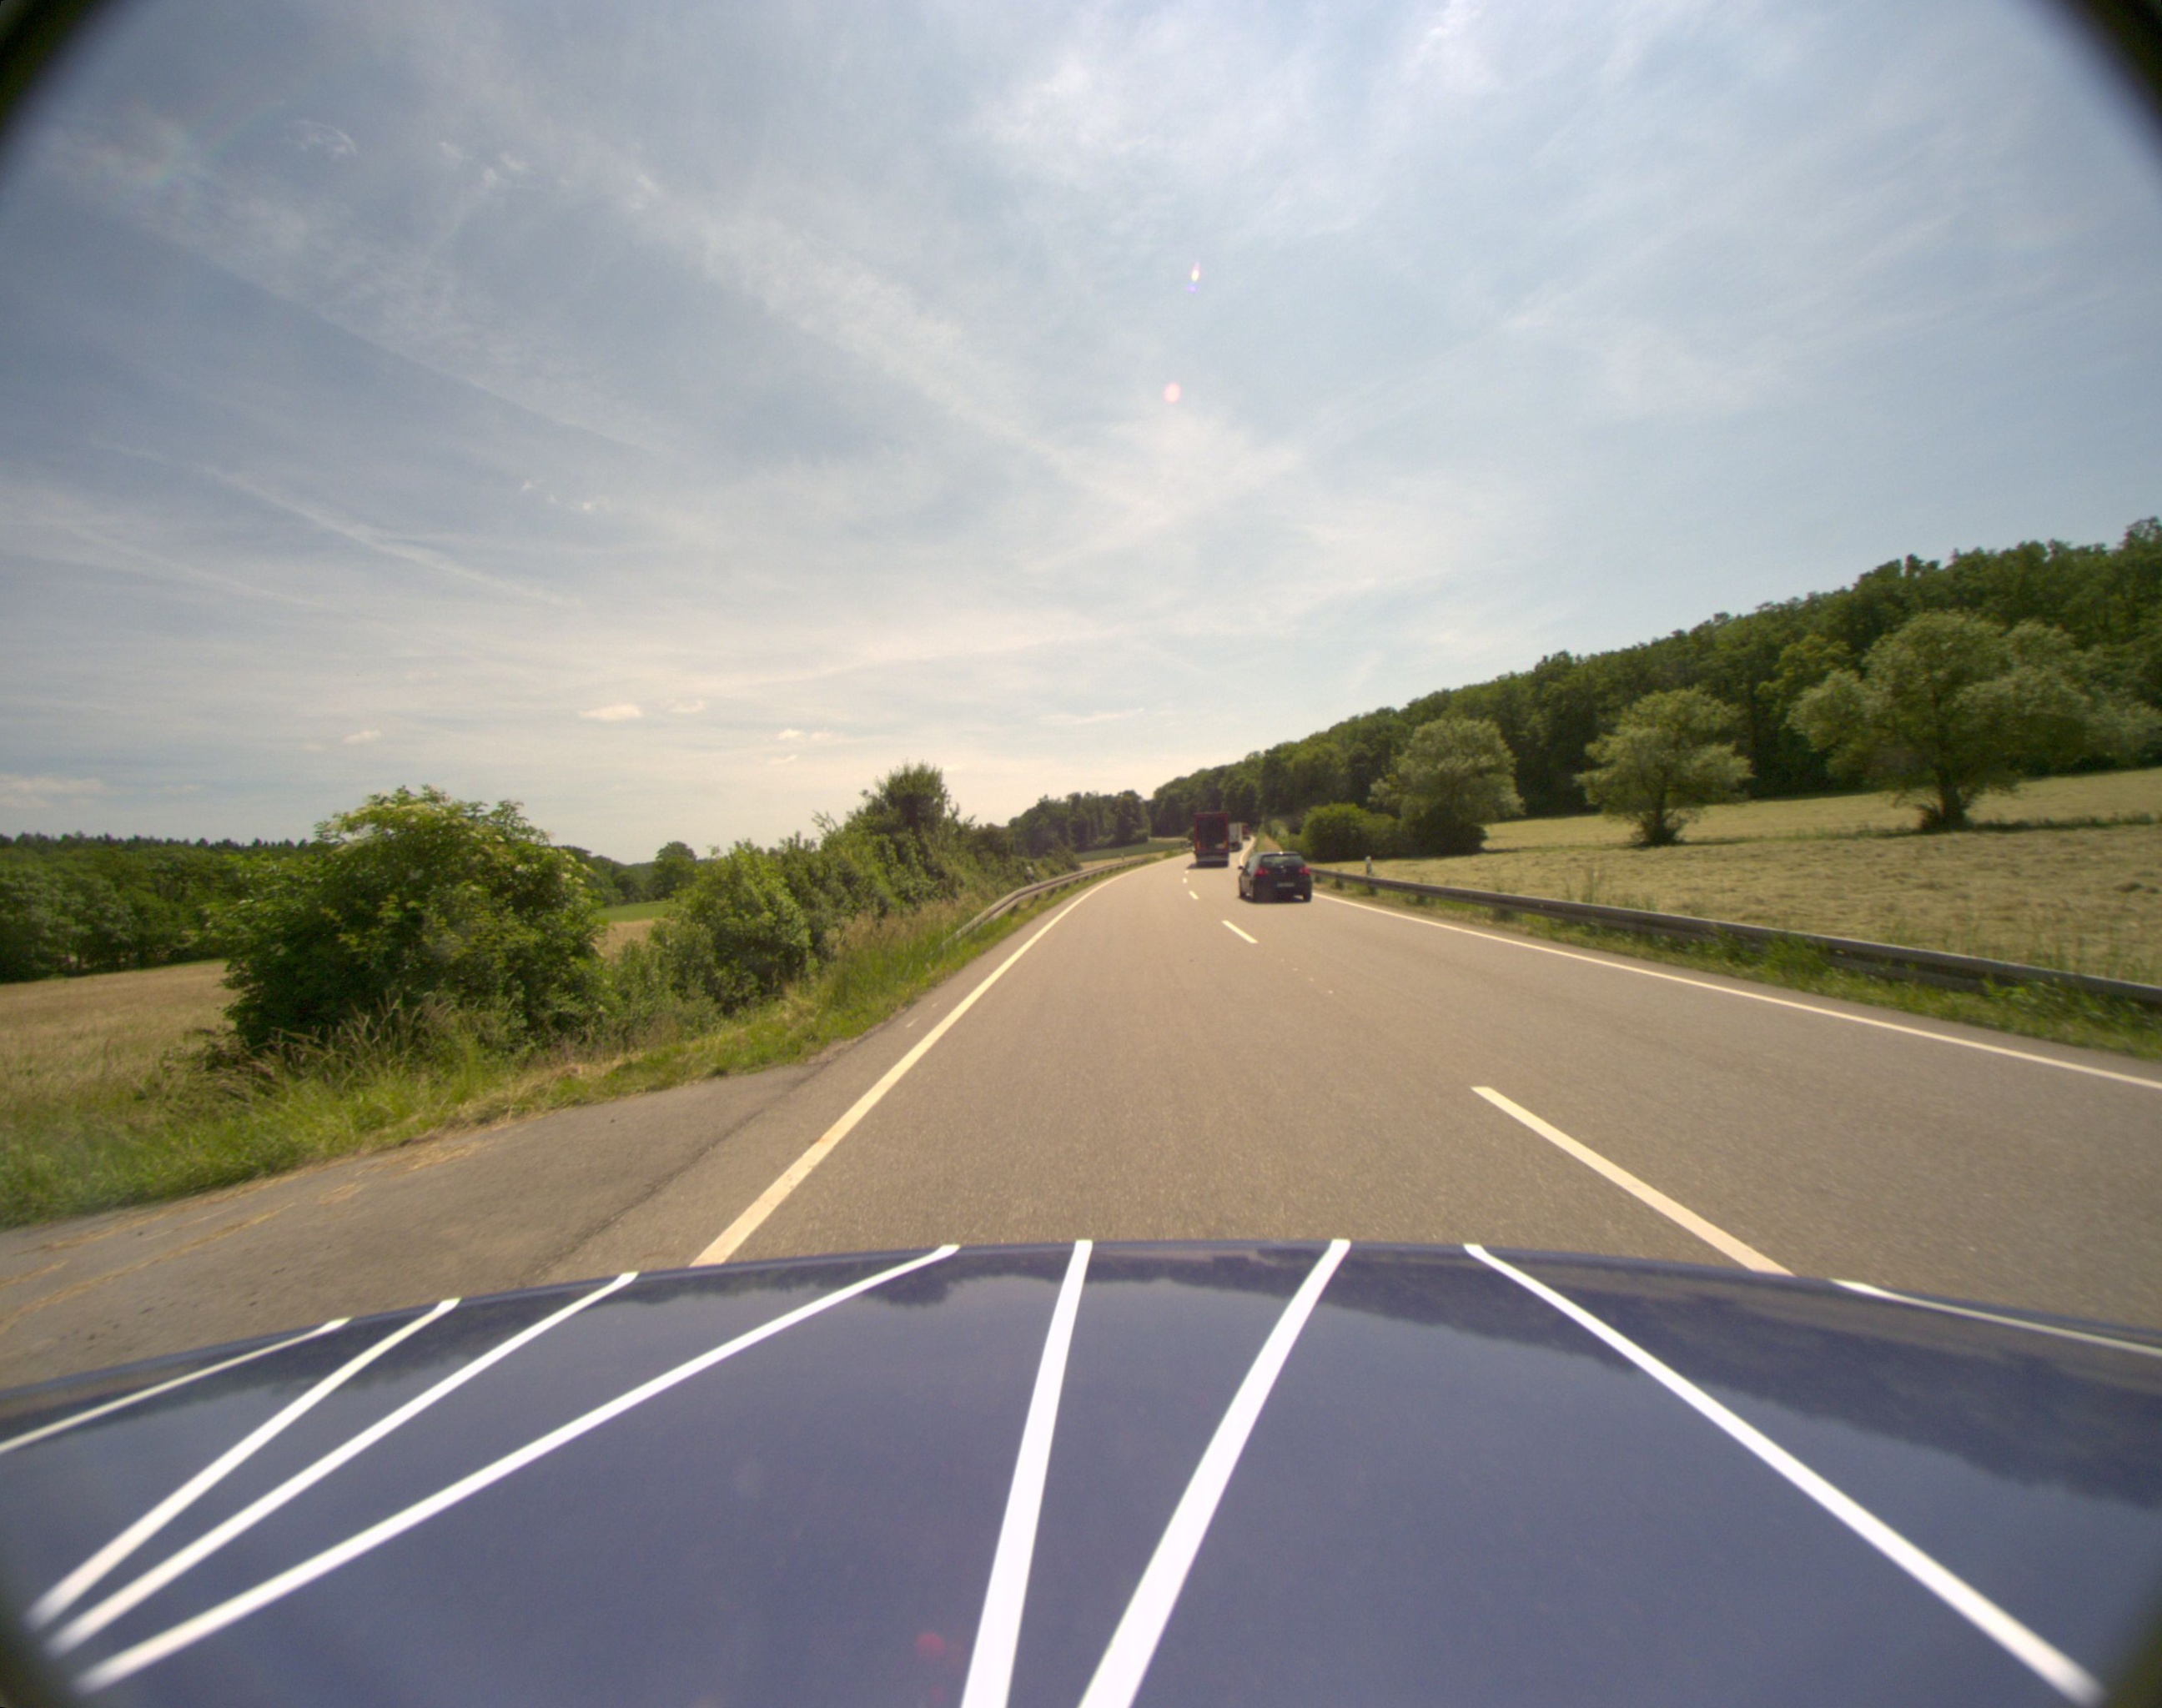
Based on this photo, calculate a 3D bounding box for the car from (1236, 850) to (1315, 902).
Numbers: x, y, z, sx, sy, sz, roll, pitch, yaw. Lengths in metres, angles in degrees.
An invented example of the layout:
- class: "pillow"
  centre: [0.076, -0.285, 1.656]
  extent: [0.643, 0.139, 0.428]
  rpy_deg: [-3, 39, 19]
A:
- class: "car"
  centre: [5.940, 0.616, 23.629]
  extent: [1.703, 1.461, 4.201]
  rpy_deg: [-1, 0, 5]

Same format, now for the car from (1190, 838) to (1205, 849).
- class: "car"
  centre: [16.168, -1.493, 105.325]
  extent: [1.620, 1.428, 3.445]
  rpy_deg: [-4, 1, 14]

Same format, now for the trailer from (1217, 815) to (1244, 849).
- class: "trailer"
  centre: [21.505, -3.161, 108.716]
  extent: [3.379, 4.376, 13.755]
  rpy_deg: [-2, 1, 13]

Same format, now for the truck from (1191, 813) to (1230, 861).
- class: "truck"
  centre: [11.832, -1.508, 69.791]
  extent: [3.247, 4.126, 6.655]
  rpy_deg: [-2, 0, 8]

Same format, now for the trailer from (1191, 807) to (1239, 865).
- class: "trailer"
  centre: [10.768, -1.449, 62.347]
  extent: [3.247, 4.126, 14.450]
  rpy_deg: [-2, 1, 8]

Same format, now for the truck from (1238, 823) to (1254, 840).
- class: "truck"
  centre: [38.132, -5.250, 175.368]
  extent: [2.707, 3.629, 10.108]
  rpy_deg: [-3, 1, 16]
